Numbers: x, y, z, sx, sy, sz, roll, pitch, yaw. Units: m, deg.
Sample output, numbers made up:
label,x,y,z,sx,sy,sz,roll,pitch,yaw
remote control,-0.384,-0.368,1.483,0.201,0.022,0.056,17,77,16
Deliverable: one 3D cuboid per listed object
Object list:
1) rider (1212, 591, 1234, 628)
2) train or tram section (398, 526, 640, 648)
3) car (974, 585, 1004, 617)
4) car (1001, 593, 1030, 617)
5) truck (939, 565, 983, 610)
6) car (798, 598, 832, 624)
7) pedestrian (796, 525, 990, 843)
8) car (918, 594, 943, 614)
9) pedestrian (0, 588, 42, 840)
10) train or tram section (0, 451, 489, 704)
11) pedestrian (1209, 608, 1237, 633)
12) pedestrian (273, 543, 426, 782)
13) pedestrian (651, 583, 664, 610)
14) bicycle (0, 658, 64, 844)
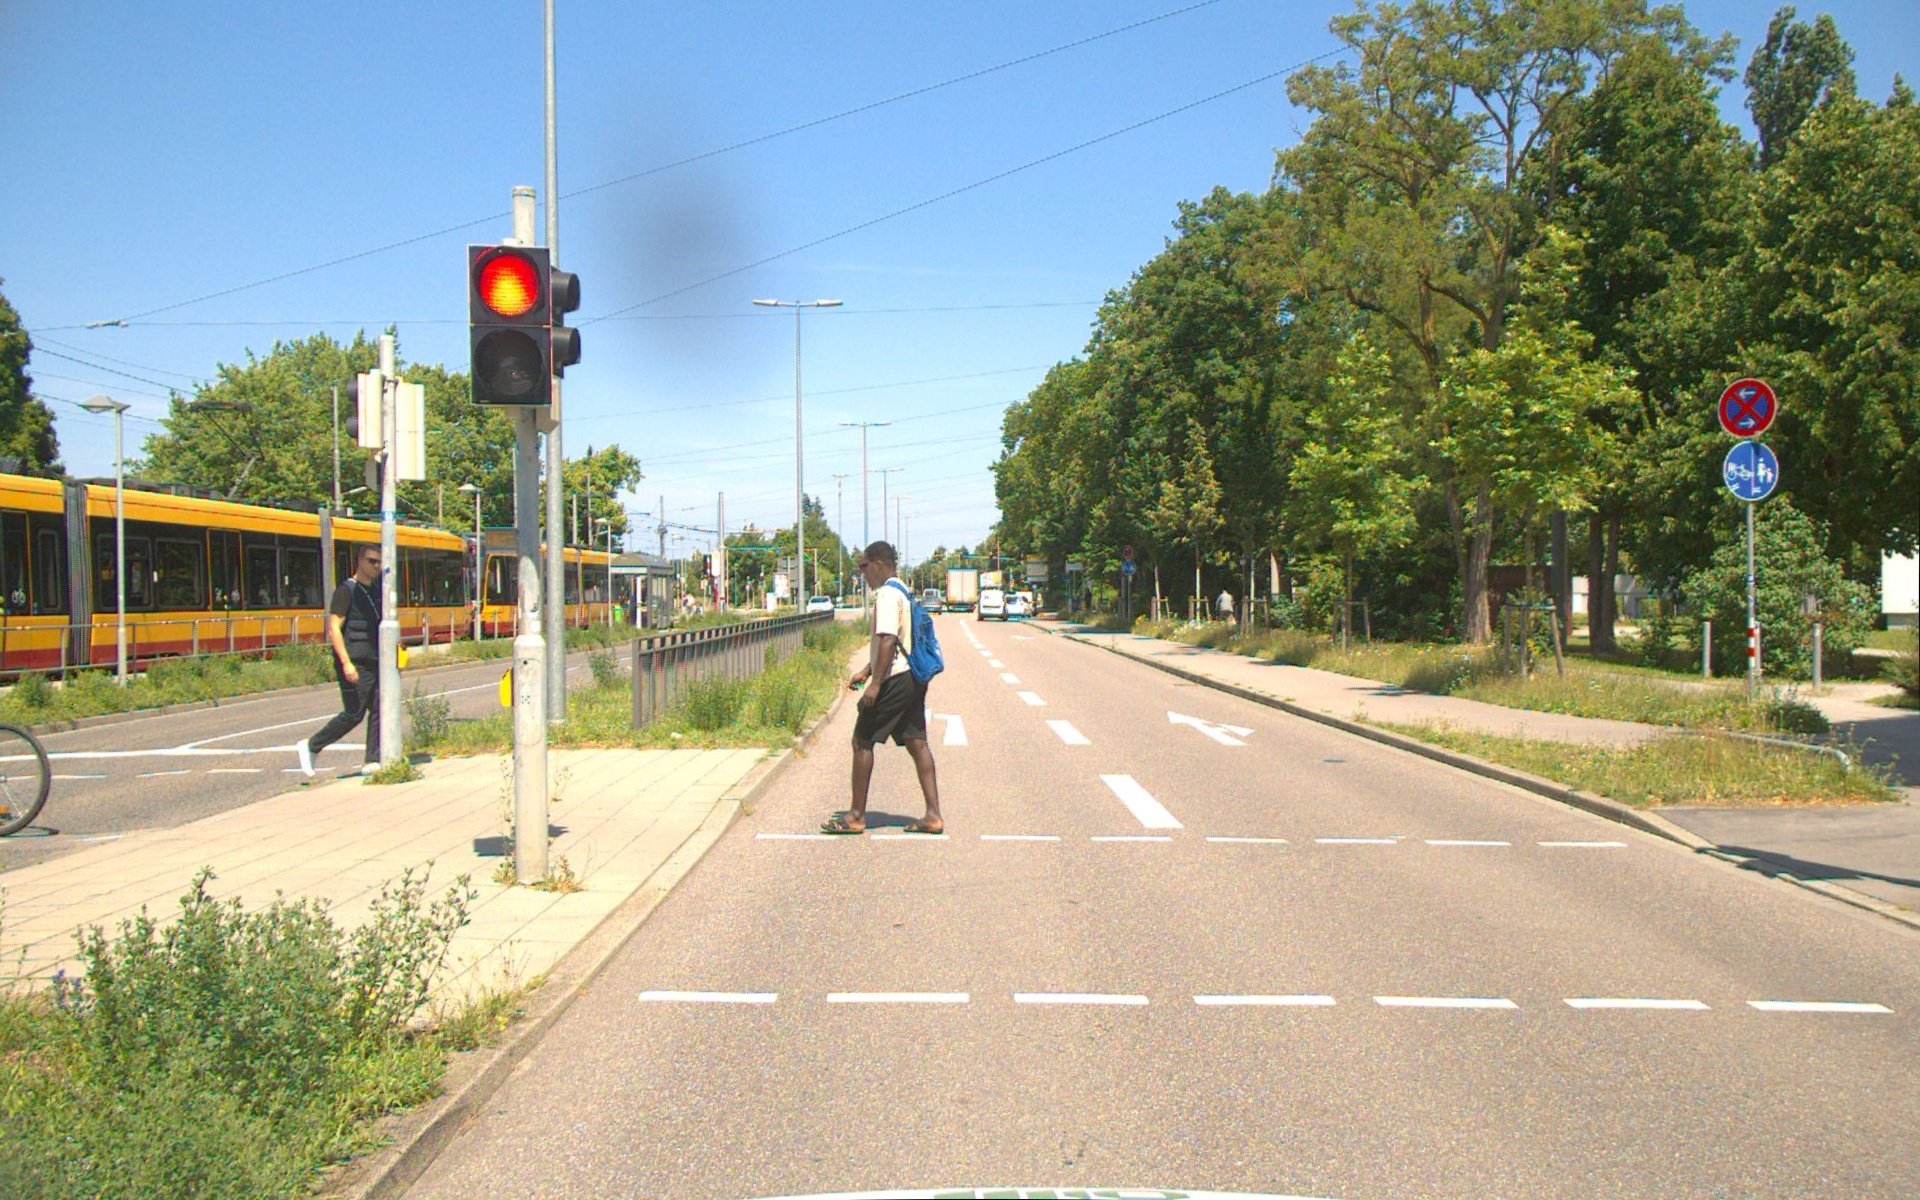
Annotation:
label,x,y,z,sx,sy,sz,roll,pitch,yaw
rider,9.245,0.321,58.163,0.664,1.304,0.533,0,0,-1
train or tram section,-16.068,-0.422,63.850,2.731,3.732,25.994,0,0,-1
car,1.756,0.042,98.809,1.692,1.845,4.001,1,0,2
car,3.734,0.342,111.883,1.767,1.567,3.999,0,0,-1
truck,0.004,-1.133,148.563,3.820,3.879,10.790,0,0,-1
car,-9.769,0.717,111.675,1.953,1.679,3.999,0,0,-1
pedestrian,-0.402,0.494,10.290,1.024,1.882,0.758,0,0,14
car,-2.205,0.306,125.811,1.764,1.512,4.000,0,0,1
pedestrian,-6.696,0.747,10.974,0.802,1.657,0.706,0,0,5
train or tram section,-15.637,-0.352,32.122,2.731,3.732,37.511,0,0,-1
pedestrian,9.245,0.701,58.185,0.664,0.862,1.773,0,0,-1
pedestrian,-4.854,0.475,13.157,0.939,1.828,0.704,0,0,28
pedestrian,-22.640,-0.283,123.831,0.846,1.998,0.873,0,0,-1
bicycle,-6.764,0.968,10.740,1.824,1.177,0.243,0,0,4
